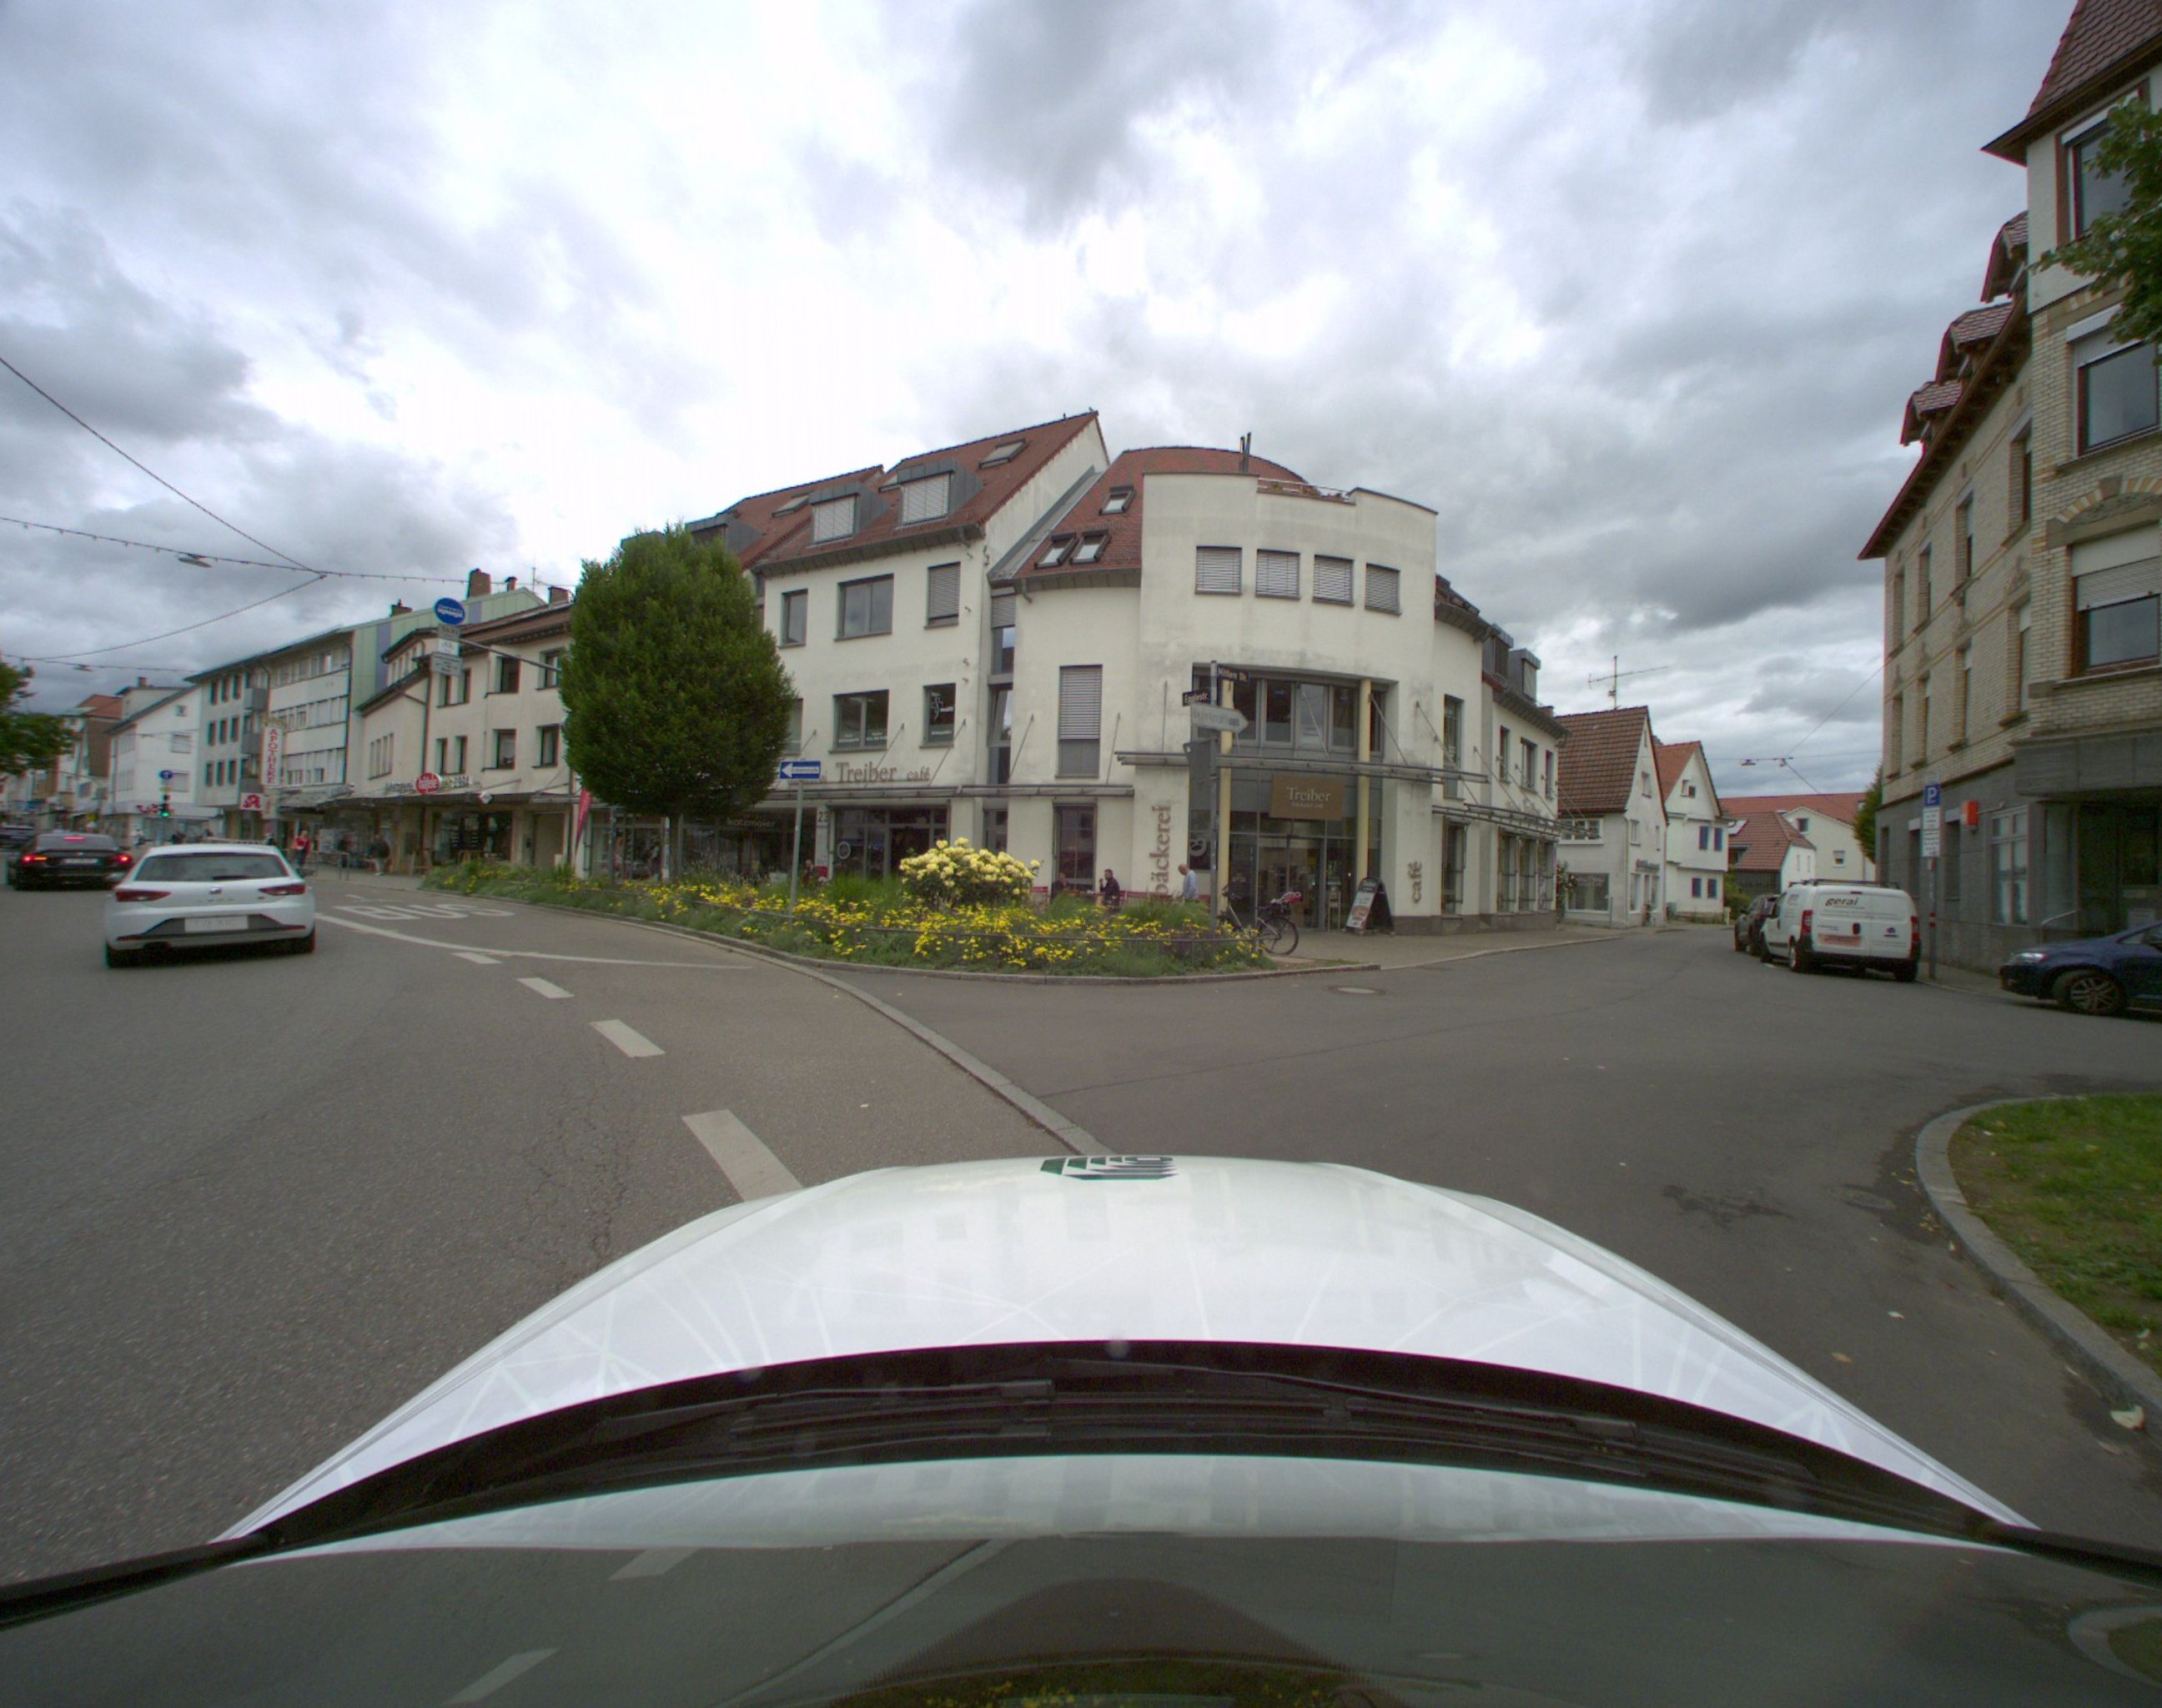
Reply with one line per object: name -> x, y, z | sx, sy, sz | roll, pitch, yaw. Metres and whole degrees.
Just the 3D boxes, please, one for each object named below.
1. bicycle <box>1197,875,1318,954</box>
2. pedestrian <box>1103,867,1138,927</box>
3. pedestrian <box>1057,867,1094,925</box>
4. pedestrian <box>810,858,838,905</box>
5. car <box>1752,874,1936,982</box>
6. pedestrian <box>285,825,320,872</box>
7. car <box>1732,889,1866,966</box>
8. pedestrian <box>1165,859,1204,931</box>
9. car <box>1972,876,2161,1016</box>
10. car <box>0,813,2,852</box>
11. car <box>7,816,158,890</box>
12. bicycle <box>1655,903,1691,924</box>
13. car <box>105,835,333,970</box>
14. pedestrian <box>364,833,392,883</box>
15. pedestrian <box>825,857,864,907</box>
bicycle -> 3.148, 1.046, 14.553 | 1.956, 1.240, 0.748 | 2, 0, 26
pedestrian -> 0.927, 0.990, 19.003 | 0.650, 1.341, 0.698 | 1, -1, 14
pedestrian -> -0.123, 0.974, 19.363 | 0.695, 1.332, 0.687 | 1, -1, 14
pedestrian -> -7.193, 0.757, 22.772 | 0.486, 1.271, 0.505 | 1, -1, 27
car -> 15.149, 1.373, 16.435 | 1.808, 1.792, 4.244 | 2, -1, 31
pedestrian -> -34.084, -0.217, 35.661 | 1.035, 2.014, 0.885 | 2, -1, -42
car -> 17.901, 1.766, 20.514 | 1.771, 1.601, 4.569 | 2, -2, 32
pedestrian -> 2.283, 0.888, 17.936 | 0.695, 1.525, 0.871 | 1, -1, 14
car -> 14.503, 1.241, 10.333 | 1.867, 1.704, 3.985 | 5, -2, -29
car -> -26.606, -0.108, 18.764 | 4.370, 1.732, 2.012 | 1, -1, 37
car -> -25.931, -0.064, 21.115 | 4.318, 1.675, 2.054 | 3, 0, 34
bicycle -> 31.430, 3.175, 43.226 | 2.094, 1.039, 0.440 | 3, 2, -23
car -> -11.749, 0.520, 11.084 | 3.950, 1.434, 1.861 | 3, 1, 41
pedestrian -> -28.551, 0.149, 33.076 | 0.627, 2.014, 0.674 | 1, -1, 32
pedestrian -> -6.412, 0.761, 22.130 | 0.561, 1.318, 0.769 | 1, -3, 27
